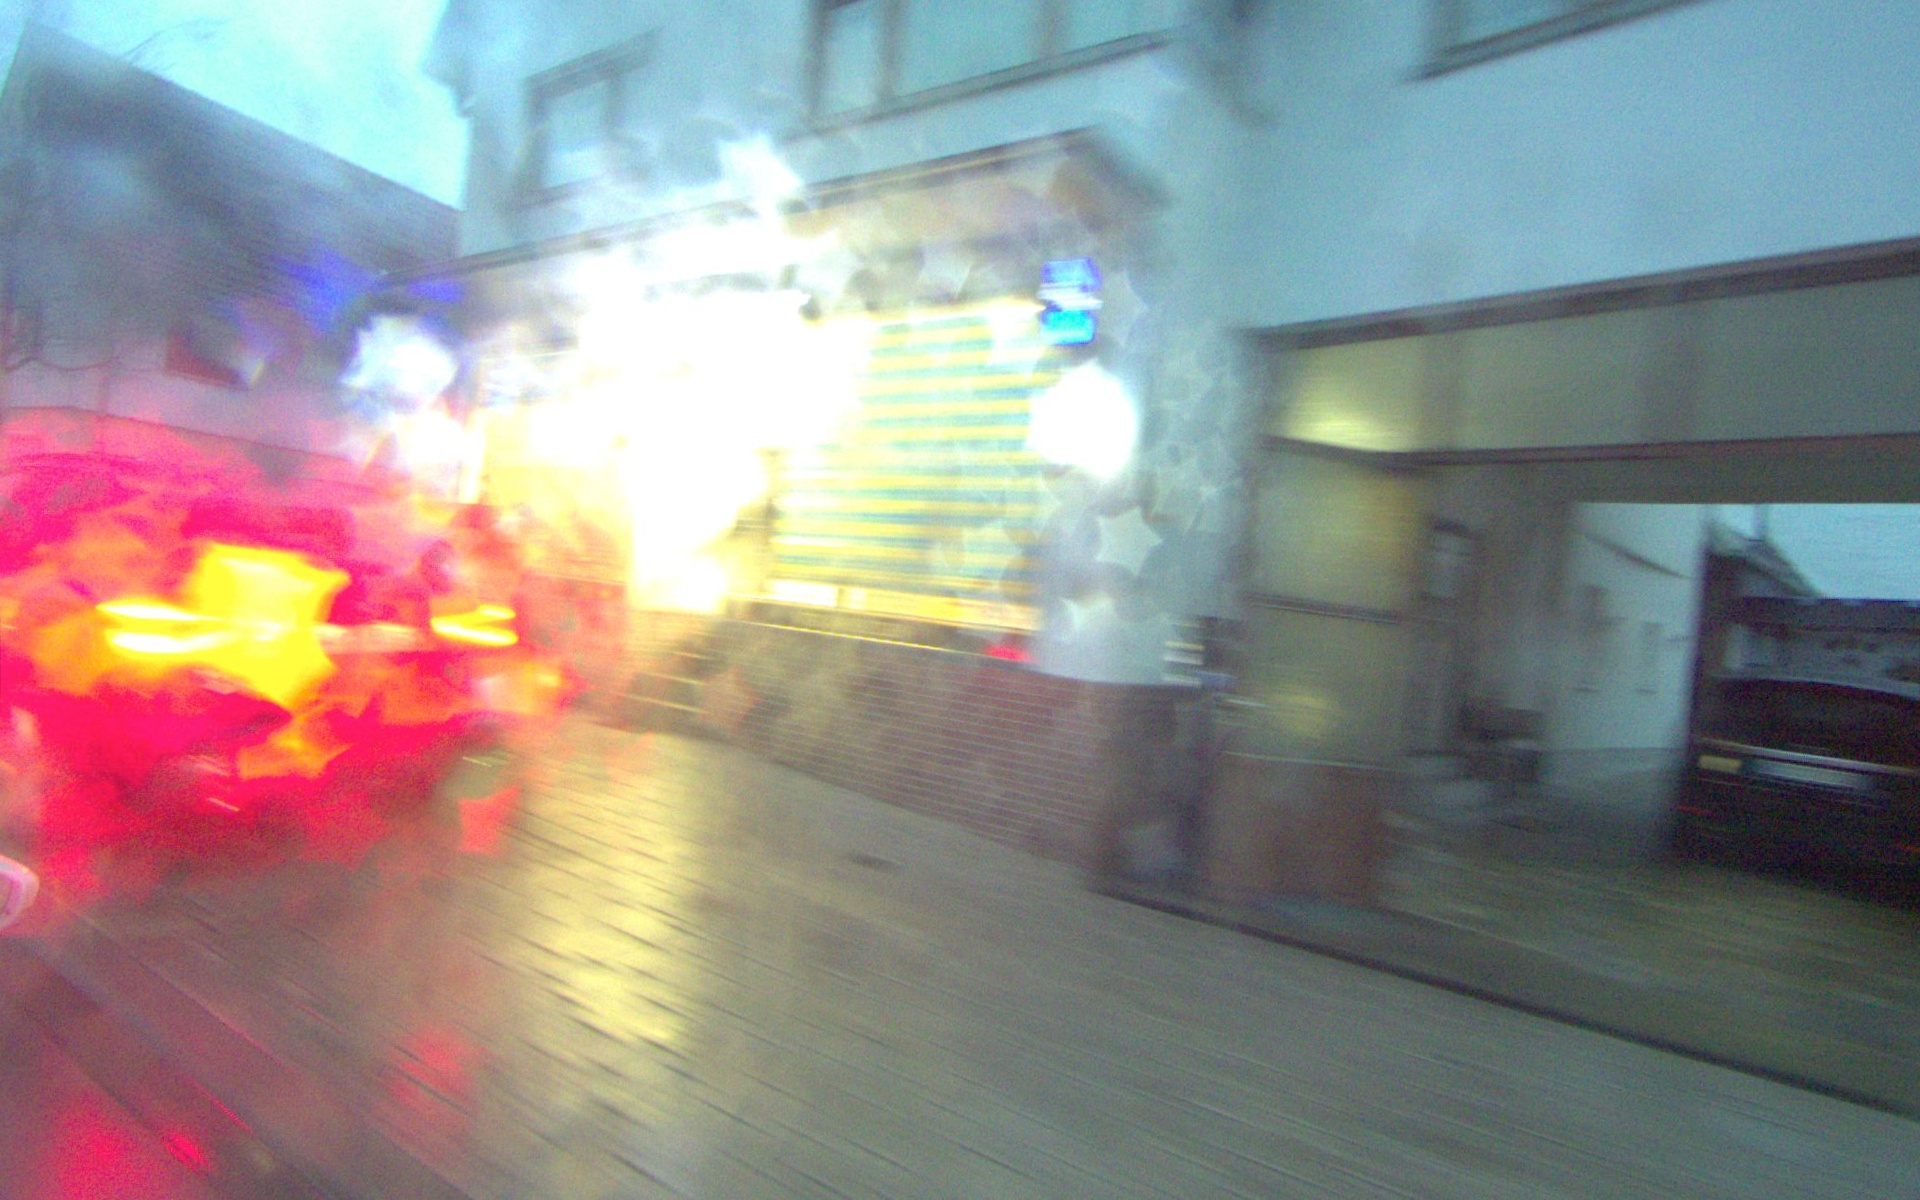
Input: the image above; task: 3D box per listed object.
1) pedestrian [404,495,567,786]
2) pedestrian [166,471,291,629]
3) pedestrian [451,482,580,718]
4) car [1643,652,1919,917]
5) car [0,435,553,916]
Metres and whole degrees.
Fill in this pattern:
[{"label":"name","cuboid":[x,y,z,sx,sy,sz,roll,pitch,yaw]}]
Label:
[{"label":"pedestrian","cuboid":[-3.013,0.240,6.399,0.642,1.722,0.573,6,2,32]},{"label":"pedestrian","cuboid":[-7.721,-0.509,10.635,0.720,1.534,0.620,8,1,18]},{"label":"pedestrian","cuboid":[-3.484,0.015,7.896,0.495,1.746,0.617,3,-3,43]},{"label":"car","cuboid":[7.511,1.466,8.699,1.864,1.613,3.977,7,0,44]},{"label":"car","cuboid":[-4.426,0.142,5.433,4.312,1.713,1.738,6,0,30]}]
